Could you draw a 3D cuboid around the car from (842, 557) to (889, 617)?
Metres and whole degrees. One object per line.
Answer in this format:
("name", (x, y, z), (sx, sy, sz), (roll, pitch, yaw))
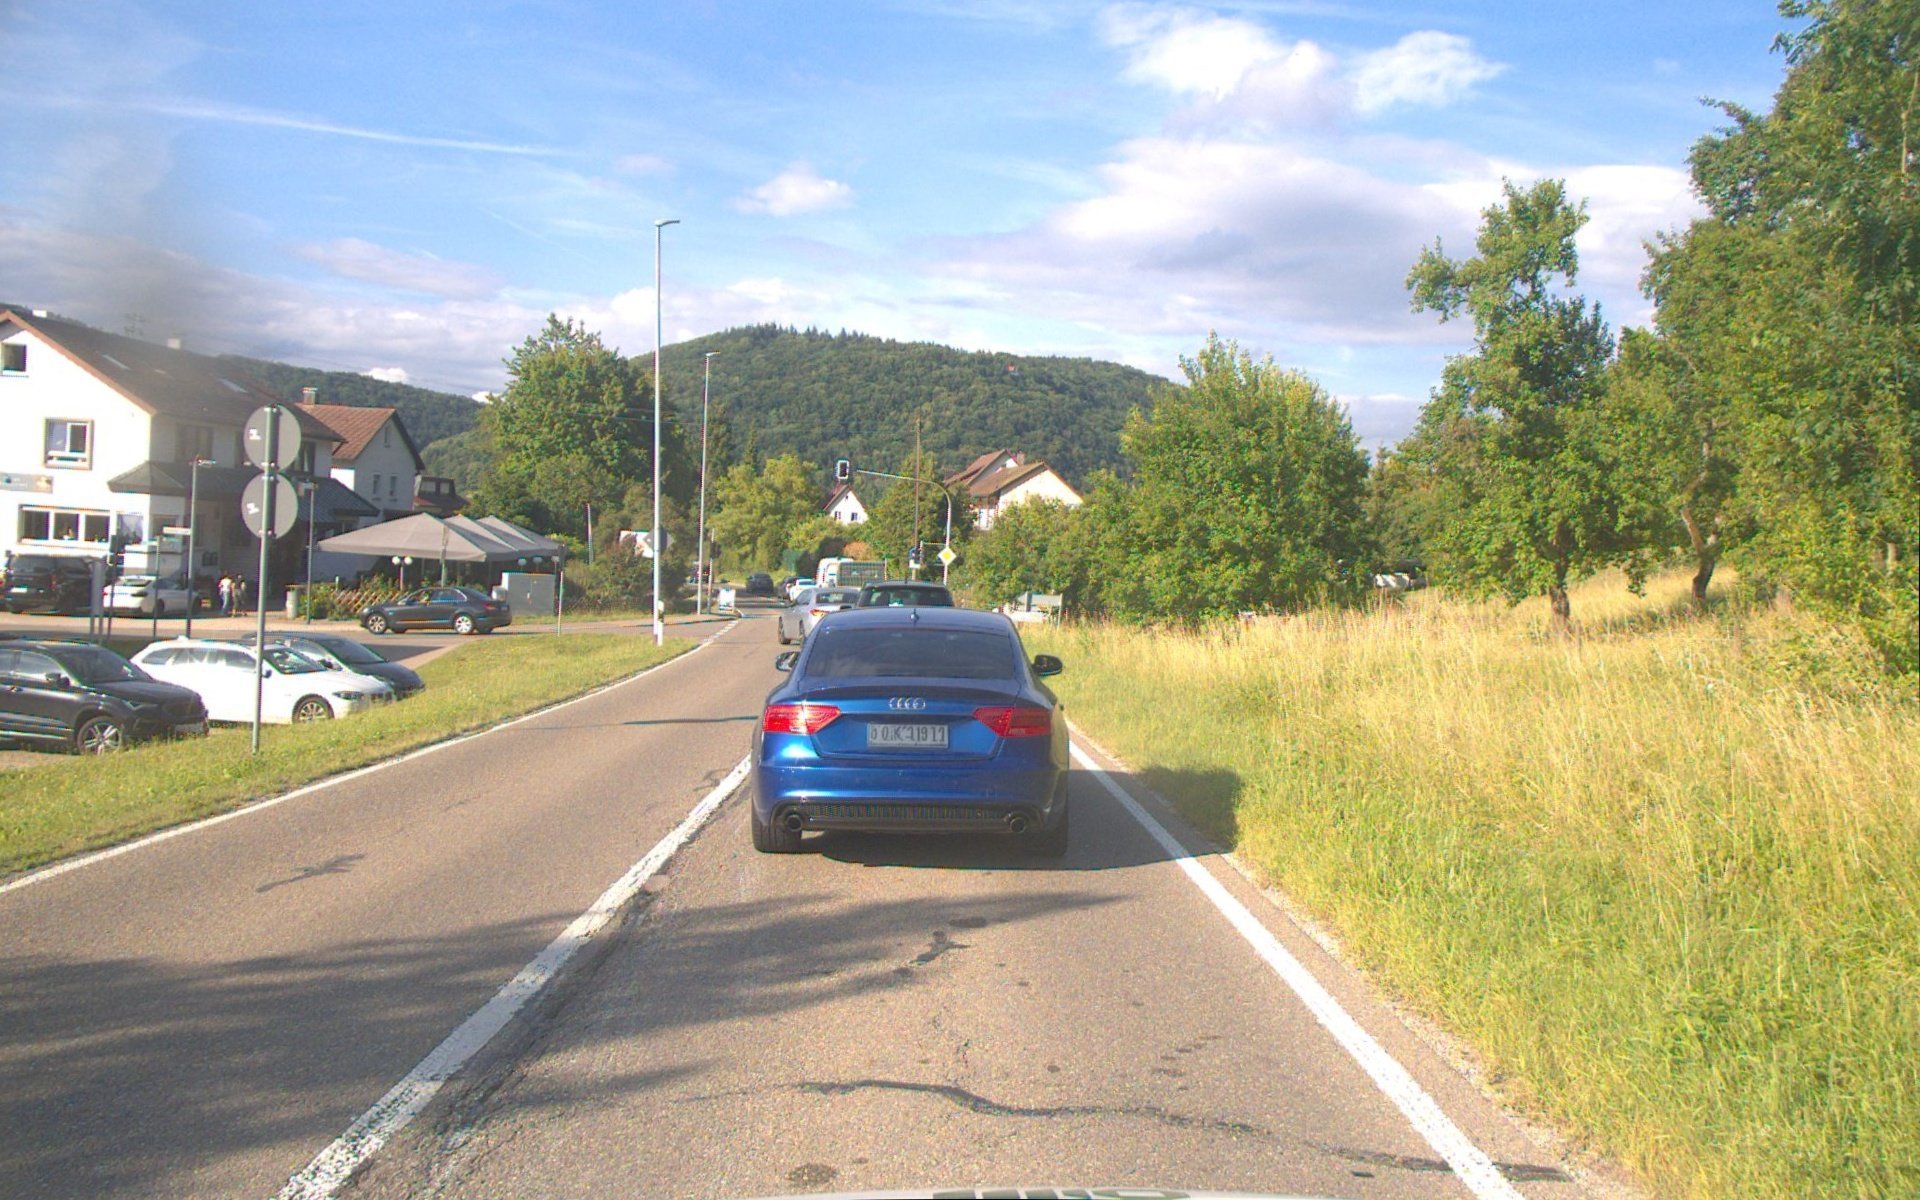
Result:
("car", (-3.741, -0.497, 64.983), (1.712, 2.234, 3.996), (1, 0, -5))

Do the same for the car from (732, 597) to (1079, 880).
("car", (-0.161, 0.710, 10.375), (1.758, 1.412, 4.002), (0, 0, 3))

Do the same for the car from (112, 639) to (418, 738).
("car", (-12.296, 1.529, 29.371), (4.711, 1.520, 1.882), (1, 0, 11))

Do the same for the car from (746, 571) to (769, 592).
("car", (-15.399, -1.399, 125.831), (1.666, 1.516, 3.520), (1, 0, -8))

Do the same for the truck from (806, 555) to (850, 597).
("truck", (-6.696, -1.170, 83.321), (1.667, 1.988, 5.908), (1, 0, -10))

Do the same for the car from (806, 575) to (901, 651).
("car", (-2.482, 0.301, 39.585), (1.767, 1.668, 4.464), (1, 0, 2))

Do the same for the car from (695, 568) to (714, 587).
("car", (-23.917, -2.094, 154.948), (1.597, 1.604, 3.670), (1, 0, -11))

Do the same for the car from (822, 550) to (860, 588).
("car", (-5.623, -1.454, 78.114), (1.712, 1.668, 3.996), (1, 0, -5))

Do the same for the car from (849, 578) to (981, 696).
("car", (-0.628, 0.543, 25.963), (1.709, 1.668, 4.002), (1, 0, 3))

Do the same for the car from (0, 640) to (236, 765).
("car", (-13.370, 1.499, 25.049), (3.939, 1.665, 2.002), (1, 0, 11))

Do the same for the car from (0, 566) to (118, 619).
("car", (-30.480, -0.240, 56.062), (1.849, 1.691, 3.999), (1, 0, -1))

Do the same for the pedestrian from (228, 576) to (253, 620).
("pedestrian", (-25.303, -0.068, 58.153), (0.596, 1.529, 0.589), (1, -1, -1))

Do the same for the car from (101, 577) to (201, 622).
("car", (-27.702, -0.012, 56.761), (1.524, 1.475, 3.999), (1, 0, -1))

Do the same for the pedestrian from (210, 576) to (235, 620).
("pedestrian", (-25.944, -0.082, 58.170), (0.596, 1.529, 0.589), (1, -1, -1))

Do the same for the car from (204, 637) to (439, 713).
("car", (-12.478, 1.444, 32.433), (3.902, 1.333, 1.762), (1, 0, 7))

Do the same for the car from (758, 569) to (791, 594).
("car", (-12.136, -1.195, 107.992), (1.669, 1.516, 3.514), (1, 0, -14))

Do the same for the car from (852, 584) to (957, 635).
("car", (-1.683, 0.301, 51.303), (1.594, 1.503, 3.725), (1, 0, 29))

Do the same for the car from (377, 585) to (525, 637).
("car", (-15.490, 0.320, 50.338), (3.904, 1.467, 1.920), (1, 0, 20))

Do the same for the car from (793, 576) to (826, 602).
("car", (-9.026, -0.650, 99.195), (1.667, 1.516, 3.518), (1, 0, -10))
